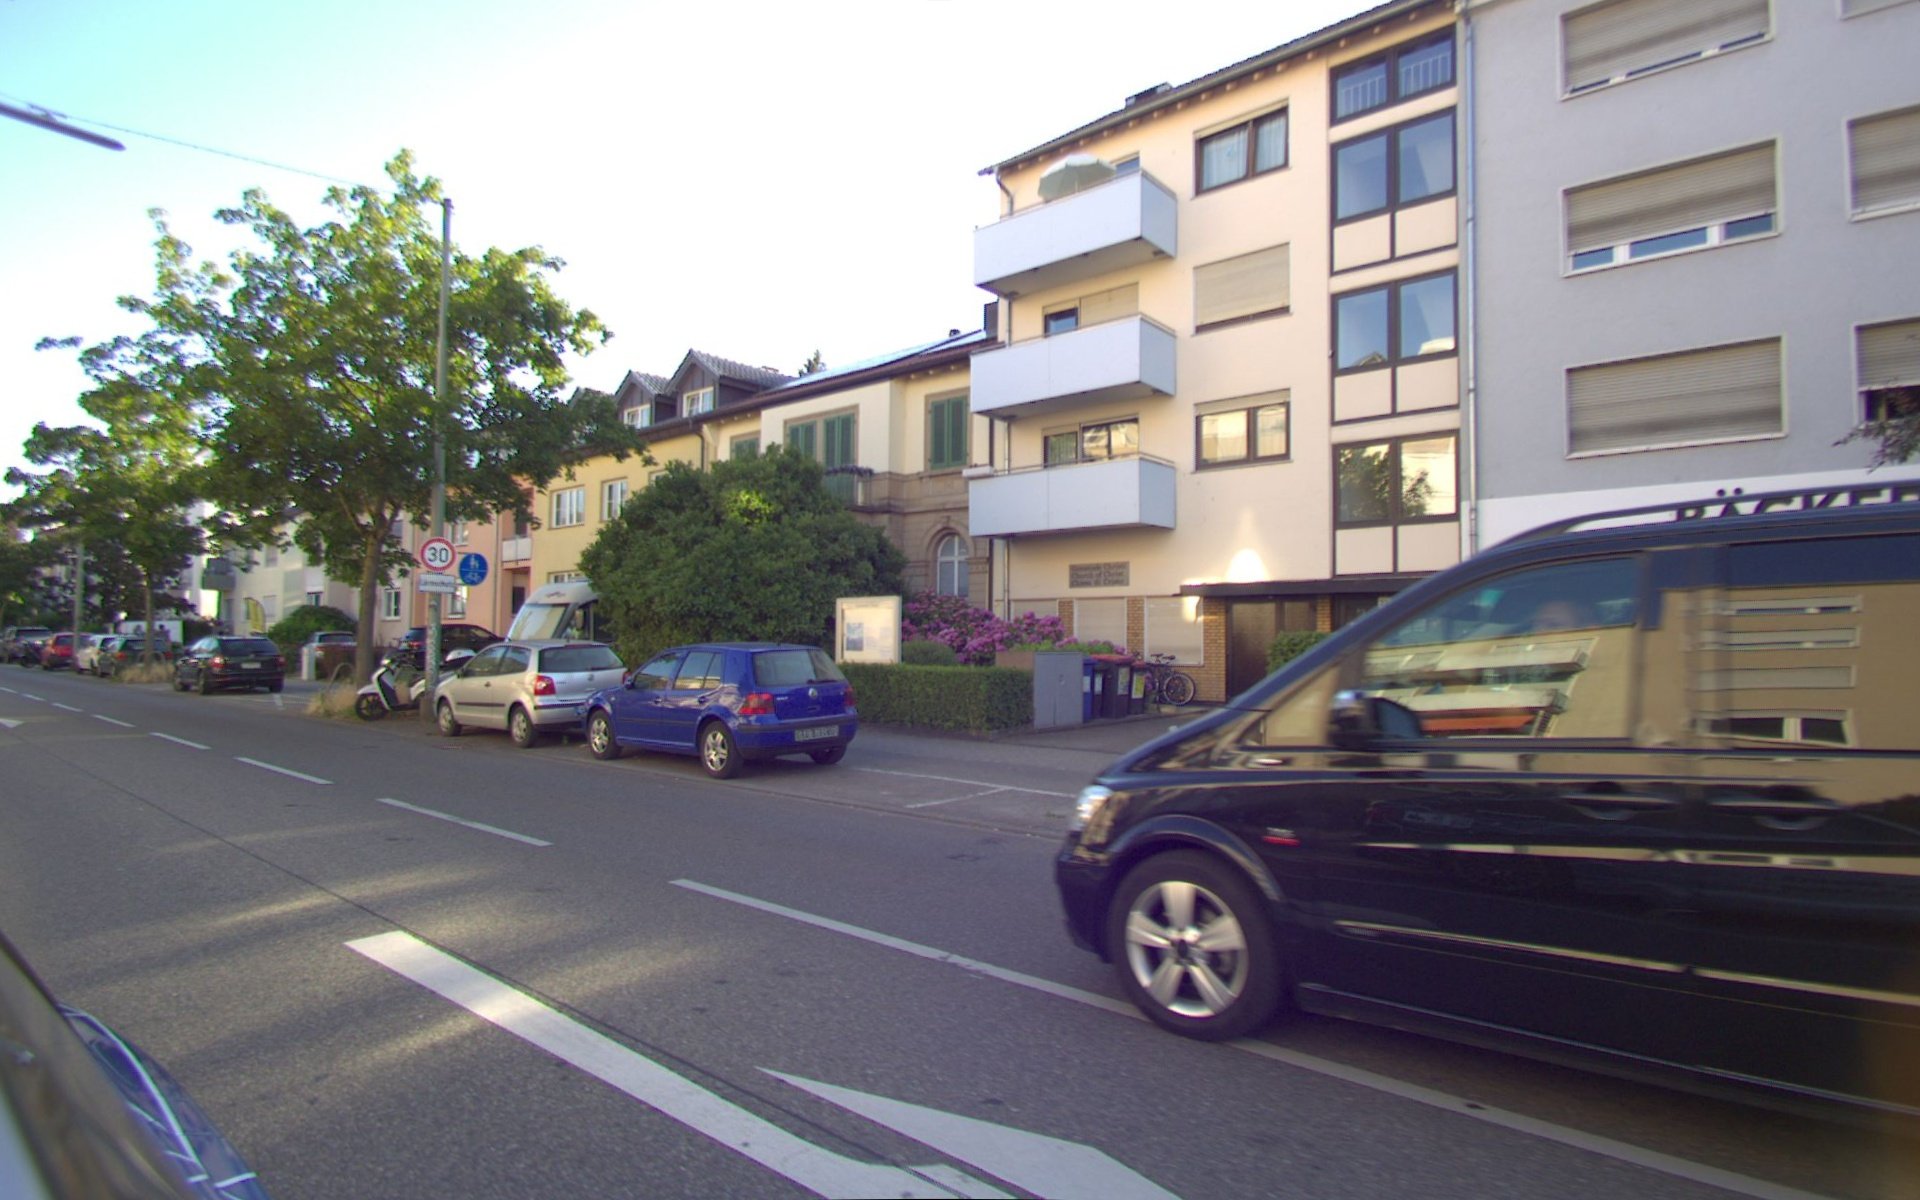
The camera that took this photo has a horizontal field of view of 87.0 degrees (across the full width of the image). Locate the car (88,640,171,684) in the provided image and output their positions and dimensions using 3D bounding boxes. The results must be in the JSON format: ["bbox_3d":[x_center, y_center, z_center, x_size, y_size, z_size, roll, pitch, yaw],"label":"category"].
[{"bbox_3d":[-28.056,2.051,34.161,3.663,1.407,1.527,-2,-3,41],"label":"car"}]

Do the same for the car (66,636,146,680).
[{"bbox_3d":[-31.725,2.116,37.554,3.887,1.535,1.577,-2,-3,40],"label":"car"}]

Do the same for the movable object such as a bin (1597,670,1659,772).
[{"bbox_3d":[6.780,1.211,10.266,0.439,0.975,0.598,-2,-4,41],"label":"movable object such as a bin"}]

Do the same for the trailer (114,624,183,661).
[{"bbox_3d":[-46.269,2.449,57.727,1.550,2.029,2.746,-2,-4,38],"label":"trailer"}]

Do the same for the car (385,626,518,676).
[{"bbox_3d":[-18.441,1.809,36.818,1.865,1.648,3.945,-2,-1,41],"label":"car"}]

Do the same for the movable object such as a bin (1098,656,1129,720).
[{"bbox_3d":[2.536,1.452,16.776,0.378,1.038,0.349,-2,-4,43],"label":"movable object such as a bin"}]

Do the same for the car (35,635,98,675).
[{"bbox_3d":[-36.329,2.203,41.109,3.436,1.535,1.575,-2,-3,43],"label":"car"}]

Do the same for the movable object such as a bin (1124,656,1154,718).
[{"bbox_3d":[3.073,1.480,17.365,0.390,1.038,0.350,-2,-3,40],"label":"movable object such as a bin"}]

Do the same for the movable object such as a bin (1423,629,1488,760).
[{"bbox_3d":[5.622,1.053,11.494,0.575,1.438,0.388,-2,-3,39],"label":"movable object such as a bin"}]

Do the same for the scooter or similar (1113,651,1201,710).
[{"bbox_3d":[3.882,1.571,20.041,1.766,1.104,0.380,-2,-3,40],"label":"scooter or similar"}]

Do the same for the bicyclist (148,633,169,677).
[{"bbox_3d":[-30.928,2.111,39.054,0.552,1.676,0.464,-2,-4,40],"label":"bicyclist"}]

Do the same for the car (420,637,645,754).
[{"bbox_3d":[-6.438,1.320,15.078,3.801,1.481,1.577,-2,-1,41],"label":"car"}]

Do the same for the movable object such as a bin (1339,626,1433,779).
[{"bbox_3d":[4.477,1.047,10.636,0.741,1.524,0.586,-2,-4,43],"label":"movable object such as a bin"}]

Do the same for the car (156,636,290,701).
[{"bbox_3d":[-19.149,1.695,26.228,4.515,1.506,1.848,-2,-2,41],"label":"car"}]

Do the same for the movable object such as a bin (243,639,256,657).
[{"bbox_3d":[-40.753,2.746,58.041,0.449,1.026,0.497,-2,-4,40],"label":"movable object such as a bin"}]

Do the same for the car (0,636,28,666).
[{"bbox_3d":[-51.405,2.716,54.359,2.747,1.567,1.557,-2,-3,39],"label":"car"}]

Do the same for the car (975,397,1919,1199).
[{"bbox_3d":[2.601,0.562,3.312,4.960,1.923,1.973,-2,-5,40],"label":"car"}]

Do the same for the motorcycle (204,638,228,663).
[{"bbox_3d":[-43.380,2.920,58.991,2.257,1.384,0.564,-1,-6,40],"label":"motorcycle"}]

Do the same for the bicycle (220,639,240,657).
[{"bbox_3d":[-44.904,2.953,62.263,2.044,1.072,0.514,-2,-3,40],"label":"bicycle"}]

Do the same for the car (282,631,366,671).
[{"bbox_3d":[-23.797,1.894,37.819,3.752,1.420,1.647,-2,-4,42],"label":"car"}]

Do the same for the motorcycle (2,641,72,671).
[{"bbox_3d":[-39.738,2.405,43.576,2.349,1.276,1.176,0,-3,17],"label":"motorcycle"}]

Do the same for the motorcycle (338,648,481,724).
[{"bbox_3d":[-9.589,1.493,17.714,2.021,1.274,0.769,1,-3,-11],"label":"motorcycle"}]

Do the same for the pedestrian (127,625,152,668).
[{"bbox_3d":[-35.583,2.017,43.880,0.506,1.806,0.706,-2,-4,43],"label":"pedestrian"}]

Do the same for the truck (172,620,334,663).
[{"bbox_3d":[-38.230,2.269,54.967,2.275,2.202,6.824,-2,-3,40],"label":"truck"}]

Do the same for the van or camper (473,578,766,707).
[{"bbox_3d":[-8.257,0.936,25.337,2.350,2.794,6.730,-2,-1,39],"label":"van or camper"}]

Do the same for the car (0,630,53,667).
[{"bbox_3d":[-47.028,2.412,50.531,4.721,1.793,1.868,-2,-3,39],"label":"car"}]

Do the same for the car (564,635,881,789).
[{"bbox_3d":[-2.960,1.192,12.132,4.071,1.529,1.631,-2,-2,41],"label":"car"}]
